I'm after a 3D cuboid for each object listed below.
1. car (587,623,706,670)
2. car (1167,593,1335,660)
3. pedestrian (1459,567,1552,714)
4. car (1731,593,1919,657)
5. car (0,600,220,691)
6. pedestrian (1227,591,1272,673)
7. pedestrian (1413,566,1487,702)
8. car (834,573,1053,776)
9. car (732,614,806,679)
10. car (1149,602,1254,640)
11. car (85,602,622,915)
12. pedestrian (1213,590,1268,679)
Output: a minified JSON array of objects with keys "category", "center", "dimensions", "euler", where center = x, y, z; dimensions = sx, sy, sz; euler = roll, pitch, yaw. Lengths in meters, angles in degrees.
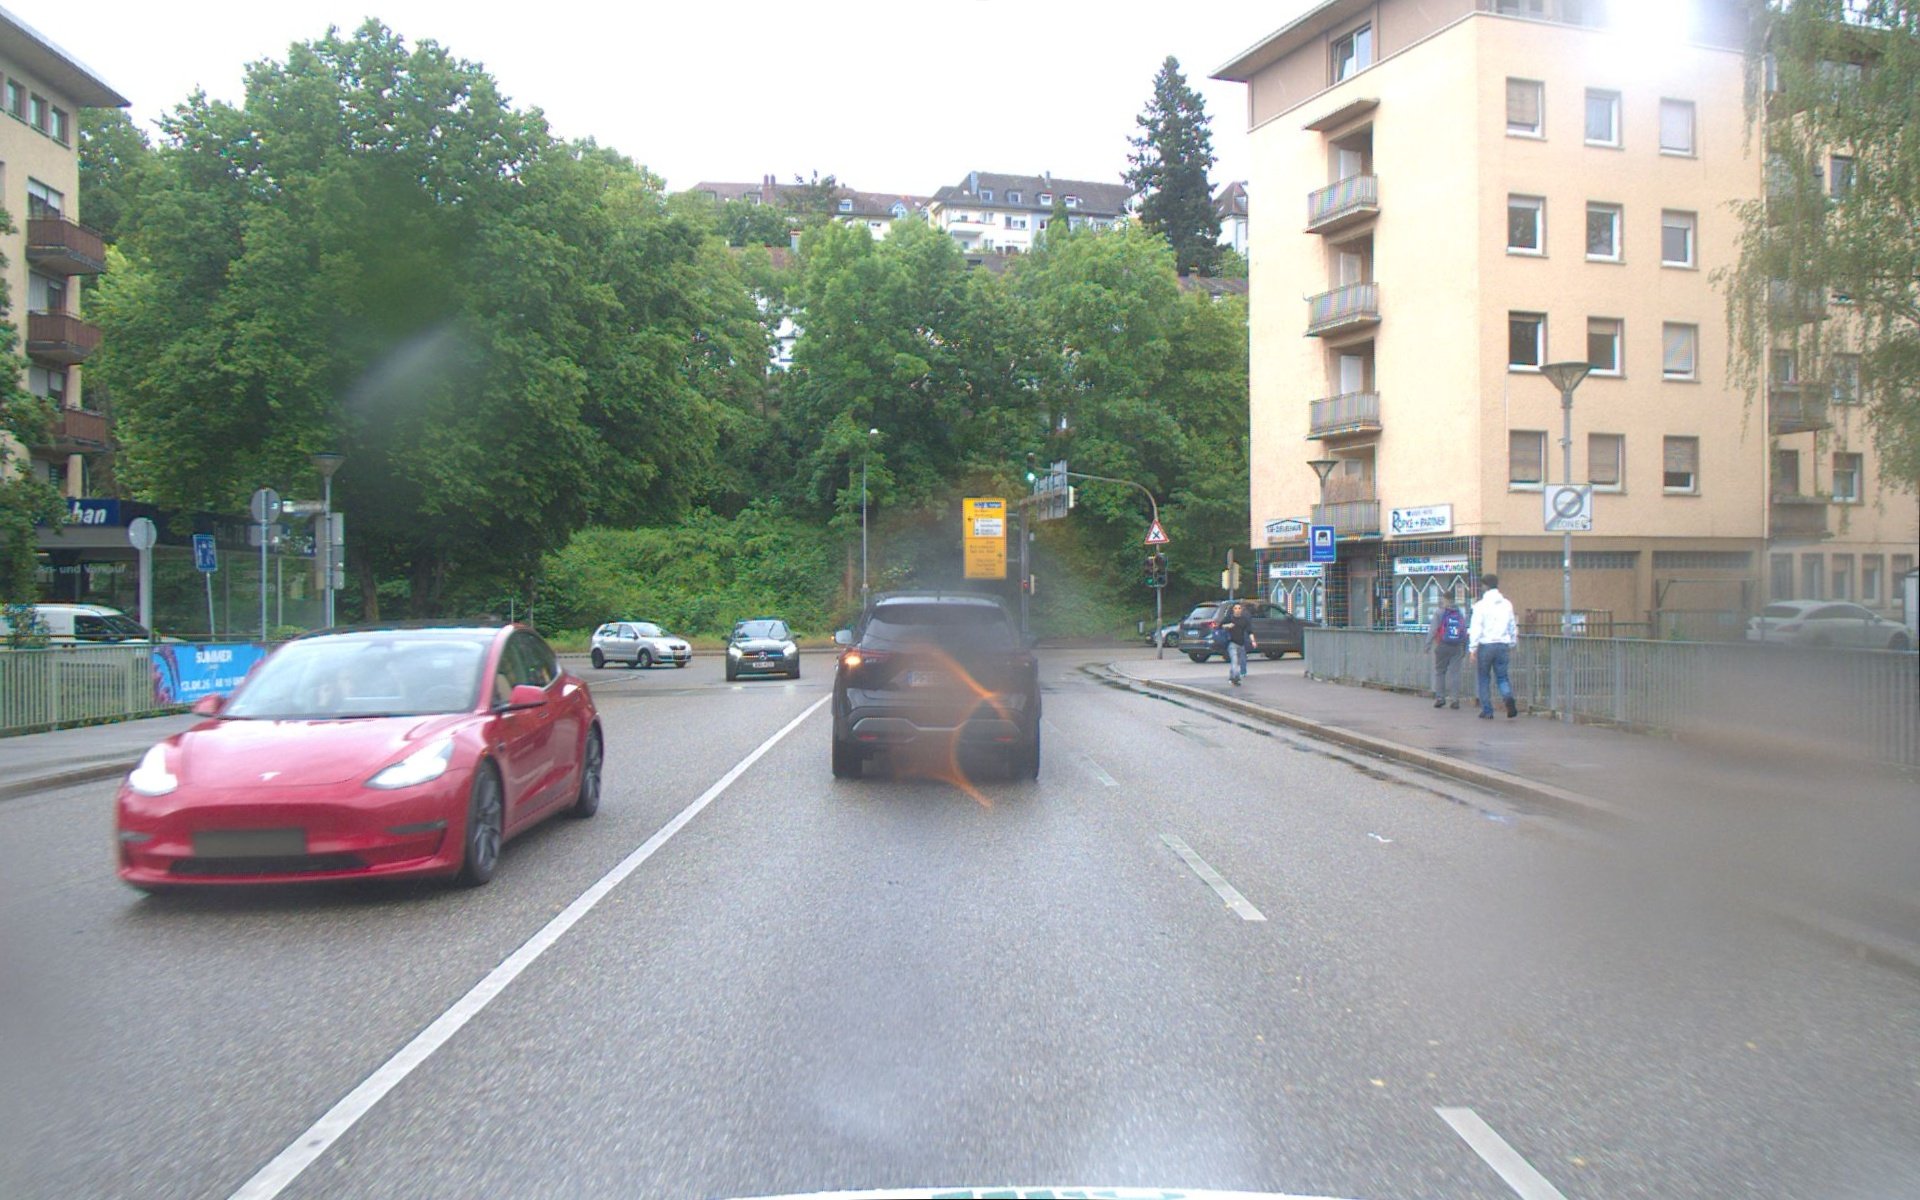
[{"category":"car","center":[-10.142,1.505,53.442],"dimensions":[3.606,1.444,1.628],"euler":[-2,-1,31]},{"category":"car","center":[8.054,0.718,45.734],"dimensions":[4.315,1.678,1.867],"euler":[-2,0,-27]},{"category":"pedestrian","center":[6.776,0.493,20.598],"dimensions":[0.764,1.783,1.060],"euler":[-1,-1,-2]},{"category":"car","center":[21.635,0.587,41.176],"dimensions":[4.370,1.400,1.808],"euler":[-1,2,-18]},{"category":"car","center":[-19.453,0.992,37.300],"dimensions":[4.656,1.886,1.996],"euler":[0,2,-10]},{"category":"pedestrian","center":[6.196,0.669,35.415],"dimensions":[0.745,1.706,0.781],"euler":[-2,0,-1]},{"category":"pedestrian","center":[6.848,0.465,23.132],"dimensions":[0.745,1.840,0.781],"euler":[-1,0,-1]},{"category":"car","center":[-0.176,0.637,15.424],"dimensions":[1.774,1.631,3.999],"euler":[0,-1,-1]},{"category":"car","center":[-4.668,1.106,40.500],"dimensions":[1.677,1.441,4.088],"euler":[-2,0,-6]},{"category":"car","center":[10.842,0.937,74.306],"dimensions":[4.249,1.528,1.877],"euler":[-2,0,-13]},{"category":"car","center":[-3.358,0.767,10.104],"dimensions":[1.745,1.427,4.218],"euler":[-2,0,-1]},{"category":"pedestrian","center":[5.341,0.658,31.566],"dimensions":[0.845,1.647,0.839],"euler":[-2,-1,-1]}]
